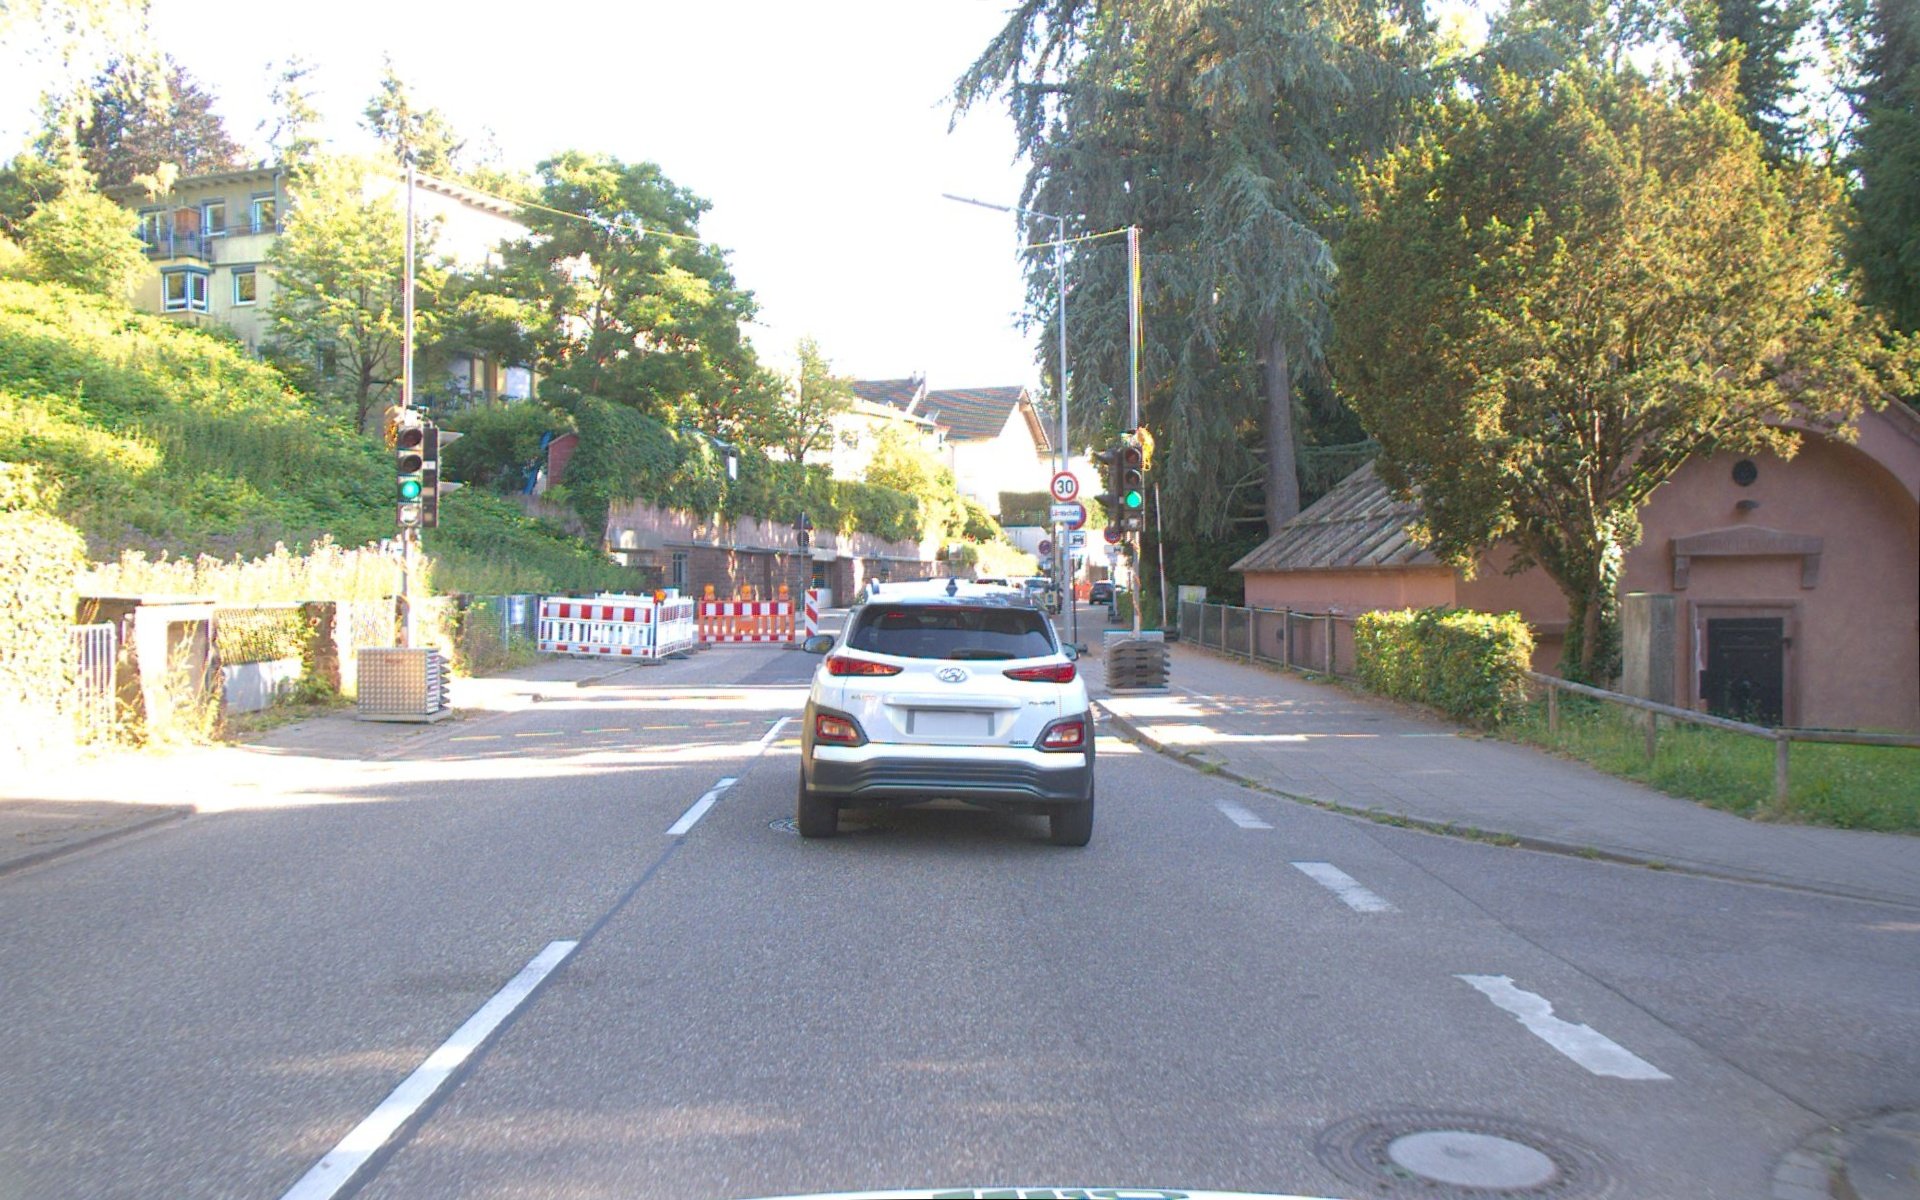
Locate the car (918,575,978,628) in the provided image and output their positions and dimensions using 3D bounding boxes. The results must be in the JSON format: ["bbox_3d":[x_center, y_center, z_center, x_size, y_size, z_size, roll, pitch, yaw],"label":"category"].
[{"bbox_3d":[-0.391,0.015,52.173,1.769,1.564,3.999,2,1,-1],"label":"car"}]

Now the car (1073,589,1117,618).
[{"bbox_3d":[8.229,0.206,100.504,1.793,1.691,4.002,2,1,17],"label":"car"}]

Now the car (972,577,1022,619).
[{"bbox_3d":[1.589,-0.107,70.125,1.793,1.691,4.003,2,1,5],"label":"car"}]

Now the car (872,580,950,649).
[{"bbox_3d":[-1.155,0.299,38.876,1.673,1.459,4.364,2,1,-2],"label":"car"}]

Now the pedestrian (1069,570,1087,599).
[{"bbox_3d":[8.096,-1.078,113.674,1.057,1.945,0.841,1,0,15],"label":"pedestrian"}]

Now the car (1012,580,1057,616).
[{"bbox_3d":[3.819,-0.122,84.144,1.792,1.771,4.004,0,0,9],"label":"car"}]

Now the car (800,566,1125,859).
[{"bbox_3d":[-0.170,0.610,11.285,1.785,1.601,3.996,2,1,-6],"label":"car"}]
